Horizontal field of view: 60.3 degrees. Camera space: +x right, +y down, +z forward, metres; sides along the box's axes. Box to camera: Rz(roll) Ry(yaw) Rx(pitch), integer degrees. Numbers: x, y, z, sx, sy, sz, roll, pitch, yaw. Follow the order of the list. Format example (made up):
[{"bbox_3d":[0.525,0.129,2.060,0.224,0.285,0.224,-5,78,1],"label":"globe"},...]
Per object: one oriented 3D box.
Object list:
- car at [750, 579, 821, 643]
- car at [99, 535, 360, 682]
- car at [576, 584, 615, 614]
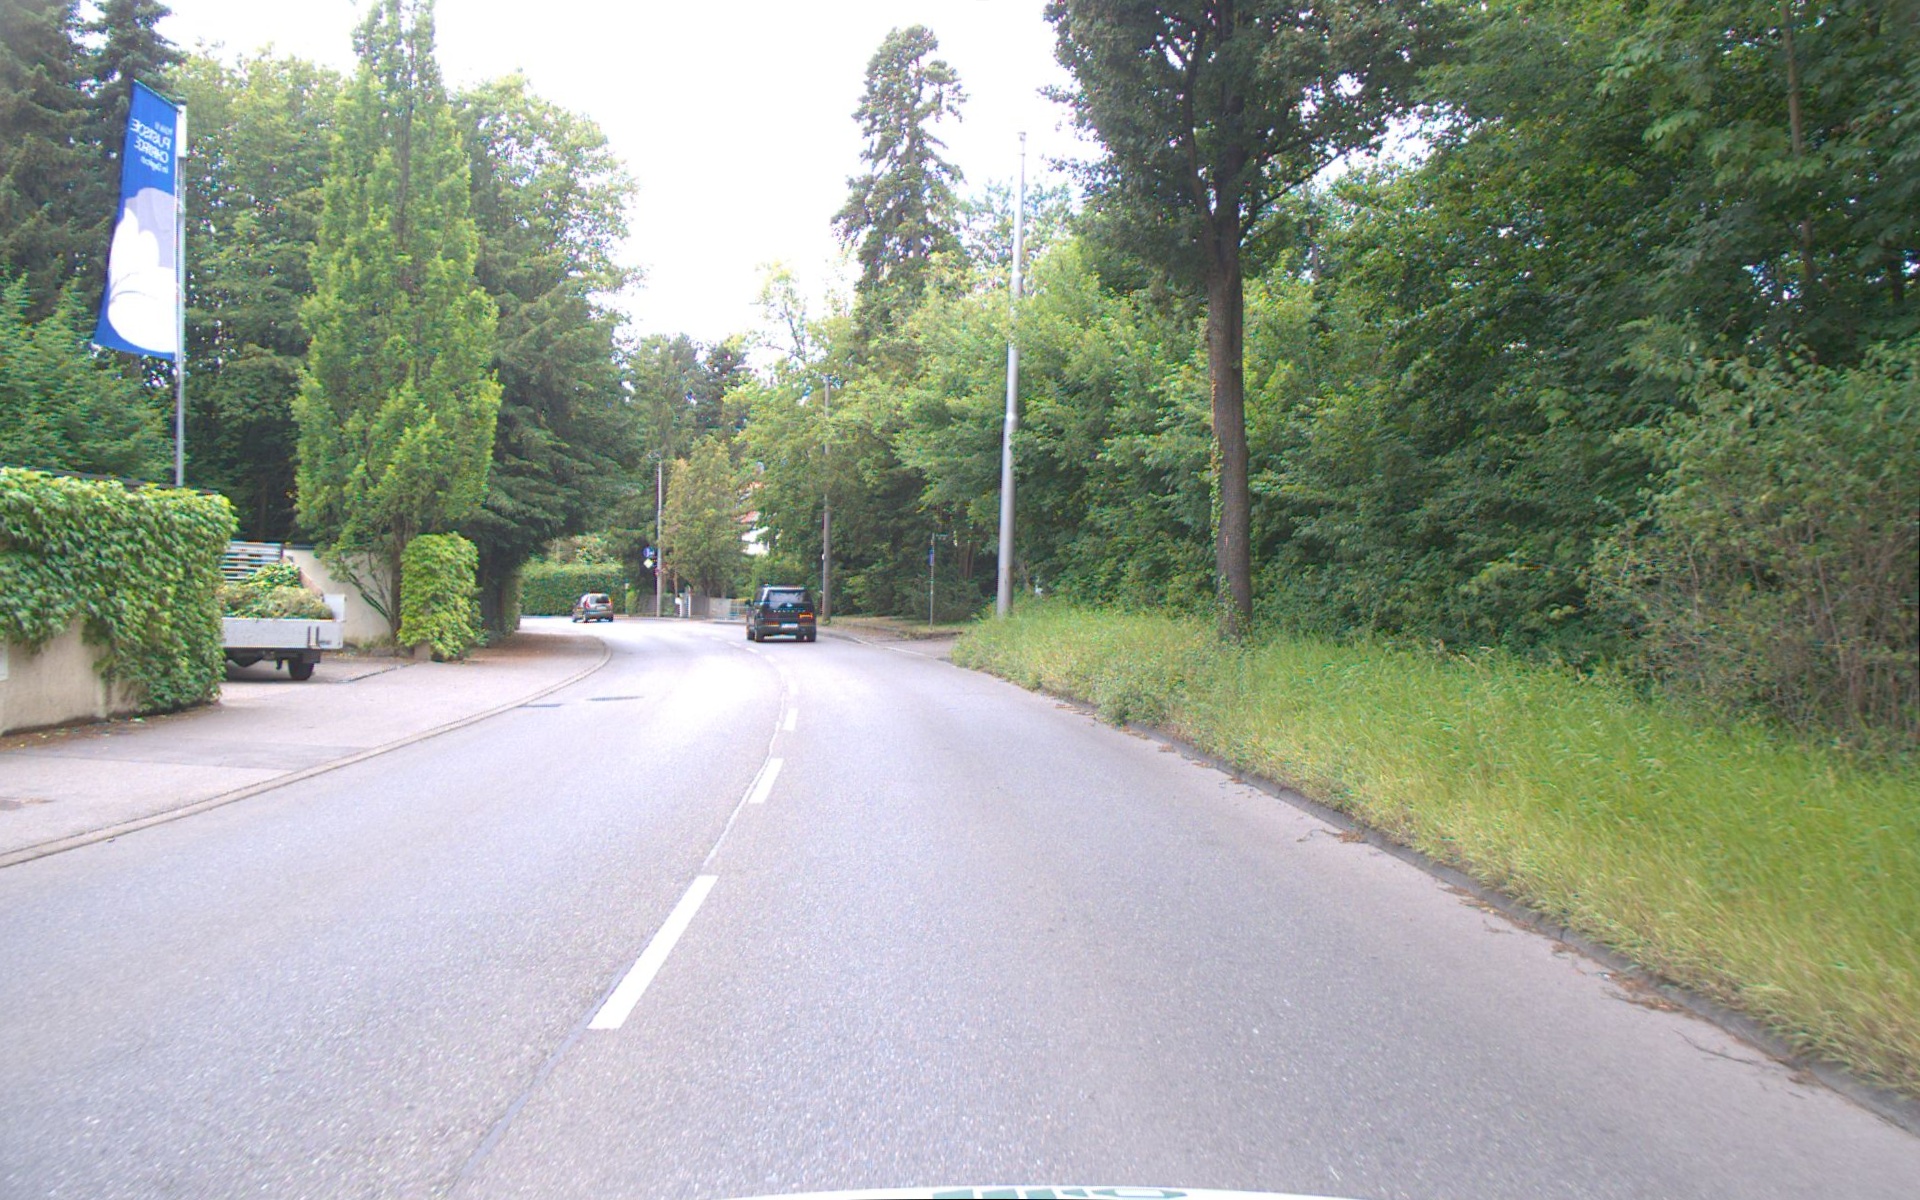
[{"bbox_3d":[-5.546,0.314,52.130,1.957,1.914,3.991,1,1,-10],"label":"car"},{"bbox_3d":[-11.829,0.100,26.570,2.404,2.109,5.281,0,0,-41],"label":"car"},{"bbox_3d":[-21.073,-0.078,95.497,1.961,1.646,3.982,0,1,-16],"label":"car"}]
